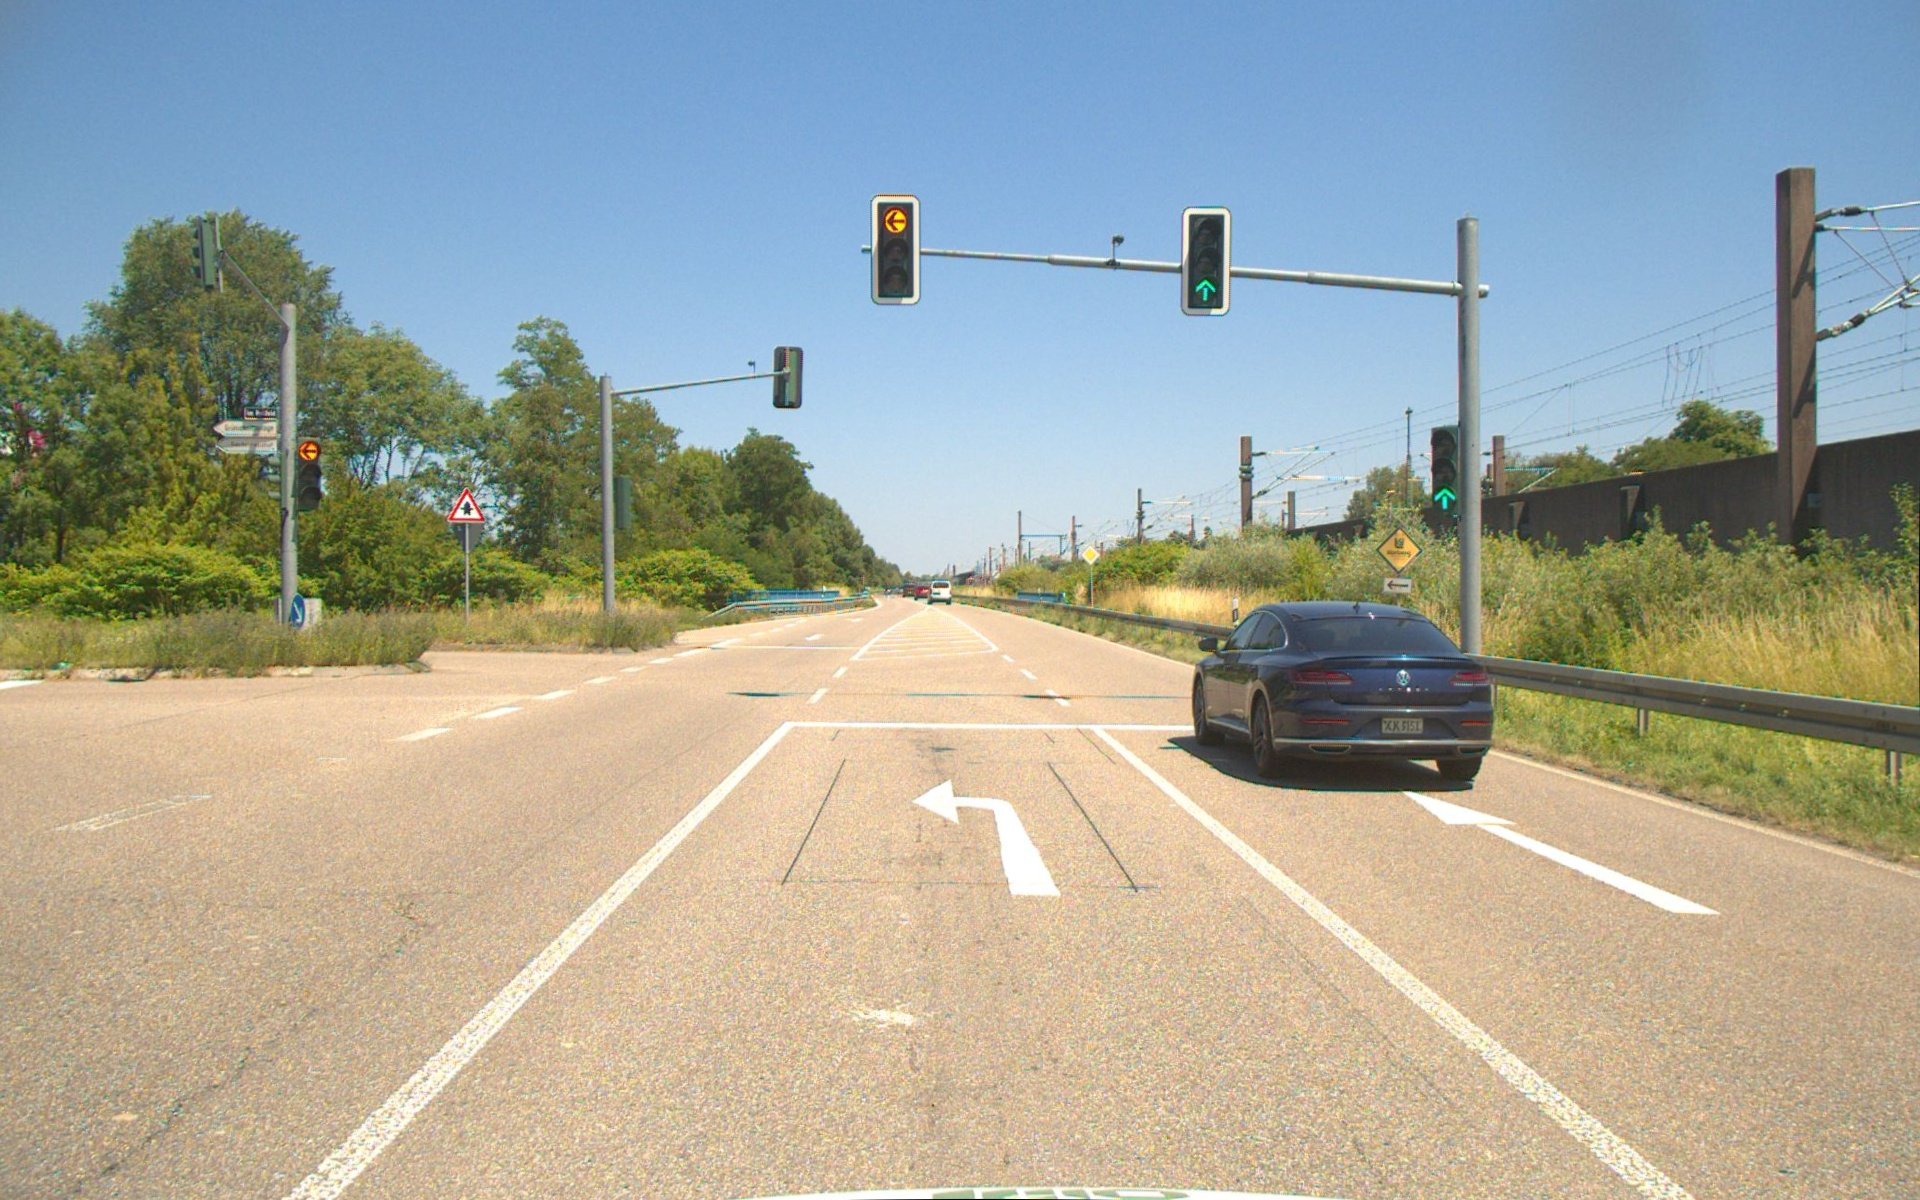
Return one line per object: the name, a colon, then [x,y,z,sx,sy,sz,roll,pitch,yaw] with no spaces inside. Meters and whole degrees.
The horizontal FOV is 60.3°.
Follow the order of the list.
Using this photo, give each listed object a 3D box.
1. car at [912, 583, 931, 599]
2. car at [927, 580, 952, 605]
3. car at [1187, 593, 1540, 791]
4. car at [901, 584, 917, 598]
car: [-4.344,-1.021,185.545,1.979,1.756,4.540,0,0,-3]
car: [-1.706,-0.638,139.310,1.953,2.018,4.058,1,1,-3]
car: [3.309,0.676,14.523,1.819,1.403,4.501,1,1,-2]
car: [-7.501,-1.342,242.979,2.112,2.002,4.540,0,0,-3]
